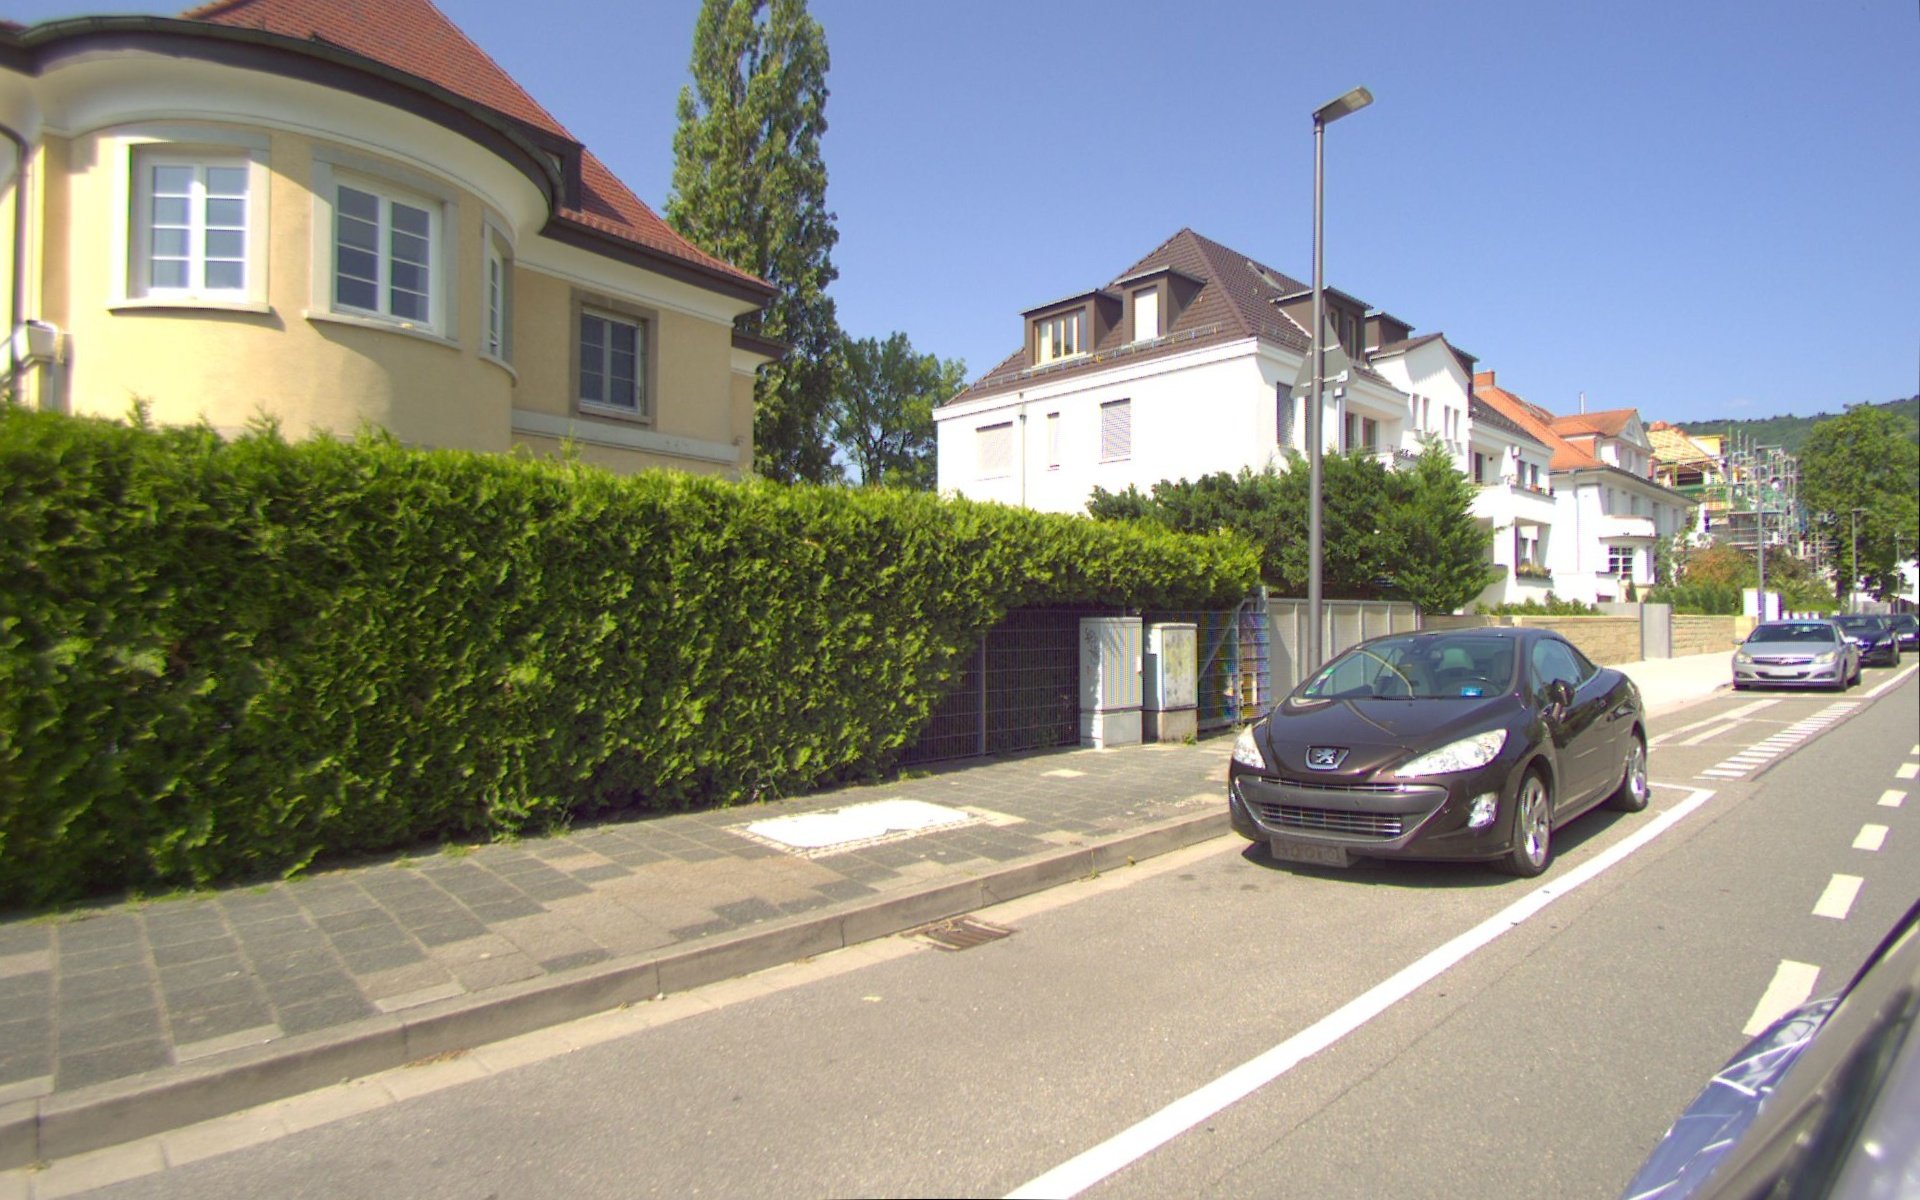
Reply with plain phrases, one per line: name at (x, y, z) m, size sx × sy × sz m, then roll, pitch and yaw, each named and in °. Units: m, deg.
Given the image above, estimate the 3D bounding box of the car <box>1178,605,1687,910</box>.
car at (3.528, 0.839, 7.129) m, size 4.272 × 1.488 × 1.737 m, roll 0°, pitch -4°, yaw -44°

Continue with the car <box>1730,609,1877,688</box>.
car at (16.979, 0.948, 20.306) m, size 4.008 × 1.346 × 1.737 m, roll -1°, pitch -3°, yaw -44°

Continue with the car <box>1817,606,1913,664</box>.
car at (25.345, 0.947, 28.291) m, size 1.722 × 1.468 × 4.101 m, roll -5°, pitch -4°, yaw 45°

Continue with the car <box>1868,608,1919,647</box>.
car at (36.790, 1.034, 39.306) m, size 3.927 × 1.467 × 1.623 m, roll 1°, pitch -1°, yaw -39°
